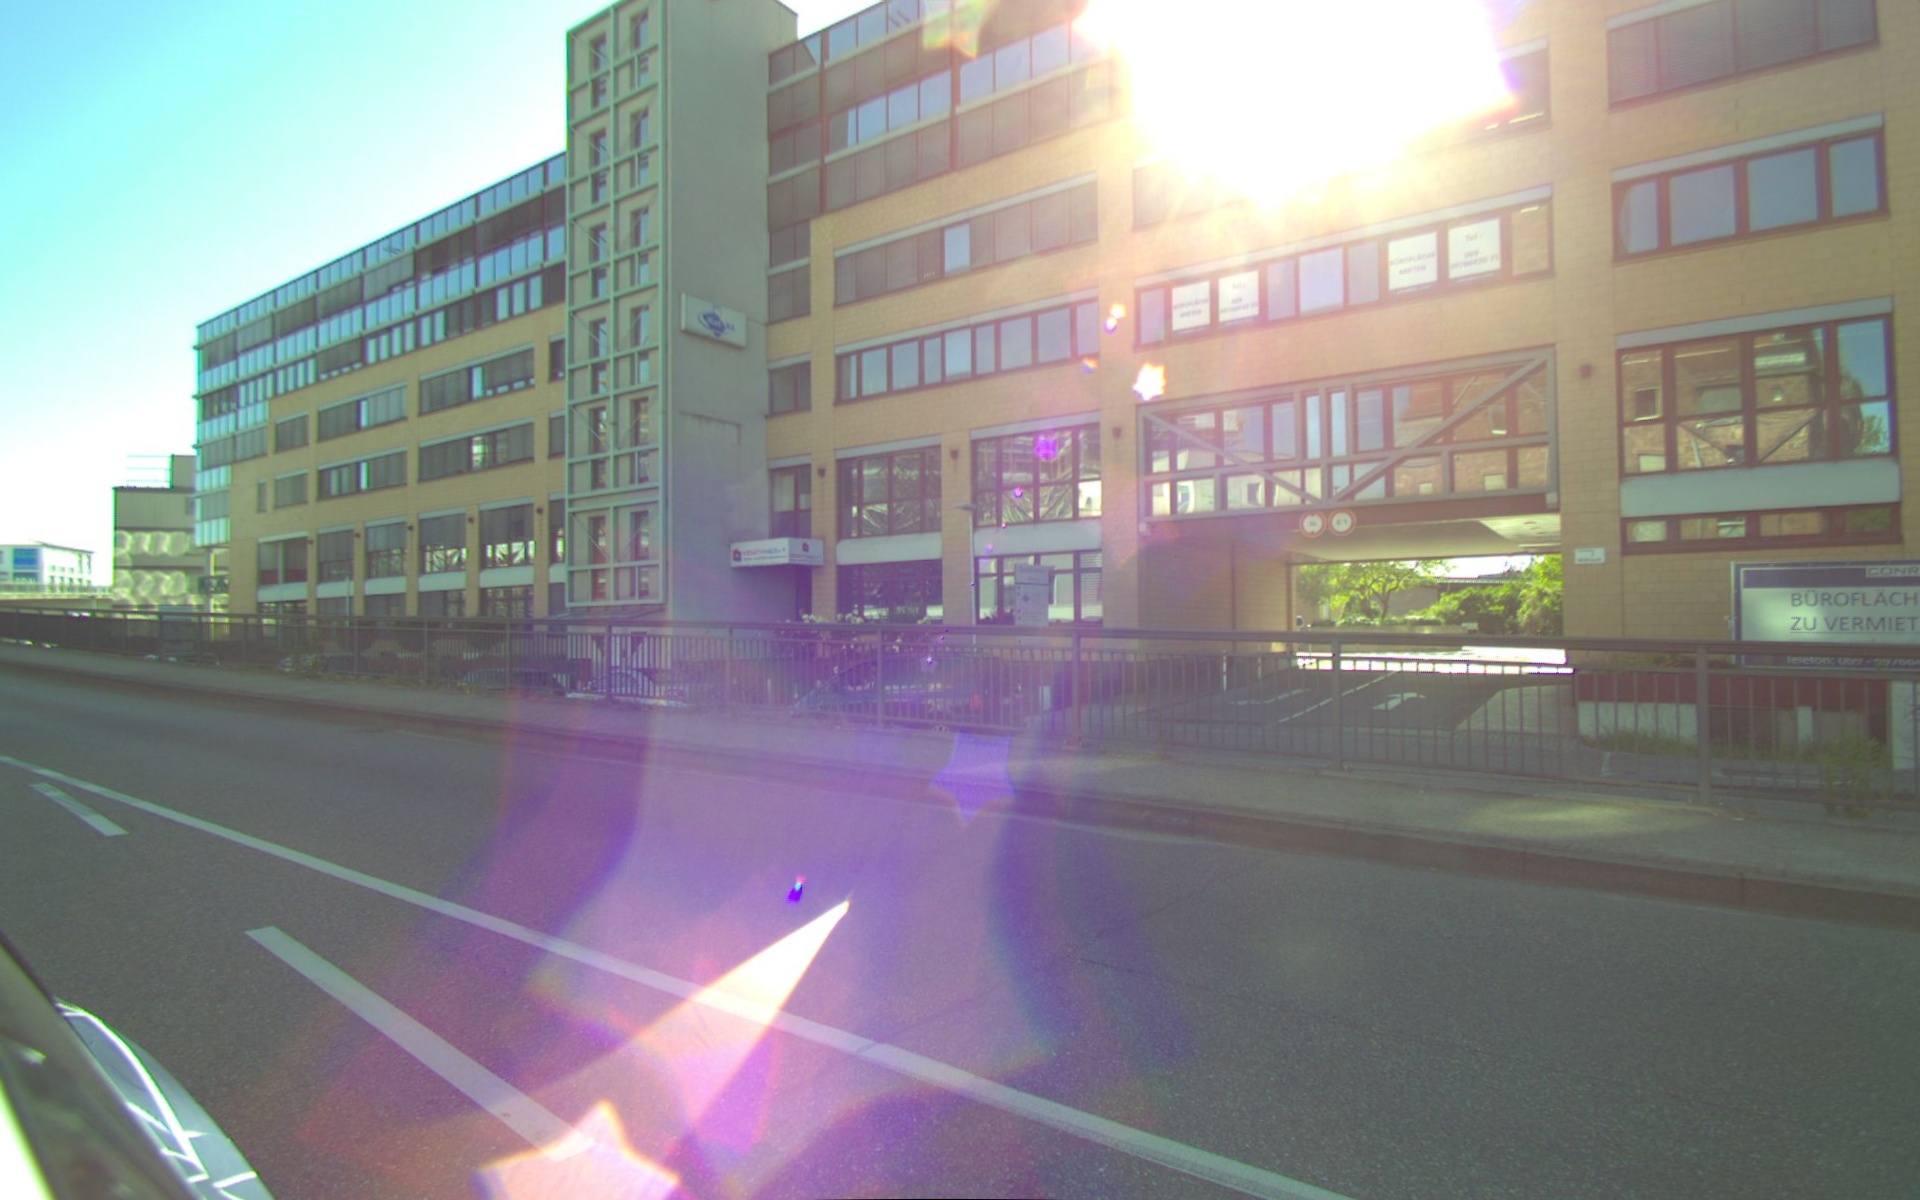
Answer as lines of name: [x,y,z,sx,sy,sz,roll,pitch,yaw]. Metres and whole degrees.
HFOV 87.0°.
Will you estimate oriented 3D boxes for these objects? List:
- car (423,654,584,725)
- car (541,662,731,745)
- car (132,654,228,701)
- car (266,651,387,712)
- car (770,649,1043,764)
car: [-11.729,2.222,25.915,4.346,1.616,1.804,-2,-3,35]
car: [-7.286,2.231,22.610,4.346,1.616,1.804,-2,-3,35]
car: [-29.851,2.916,38.716,3.994,1.674,1.974,-2,-3,38]
car: [-20.006,2.509,31.924,3.994,1.737,1.974,-2,-3,38]
car: [-1.026,1.792,18.170,4.675,1.771,1.935,-2,-1,34]
